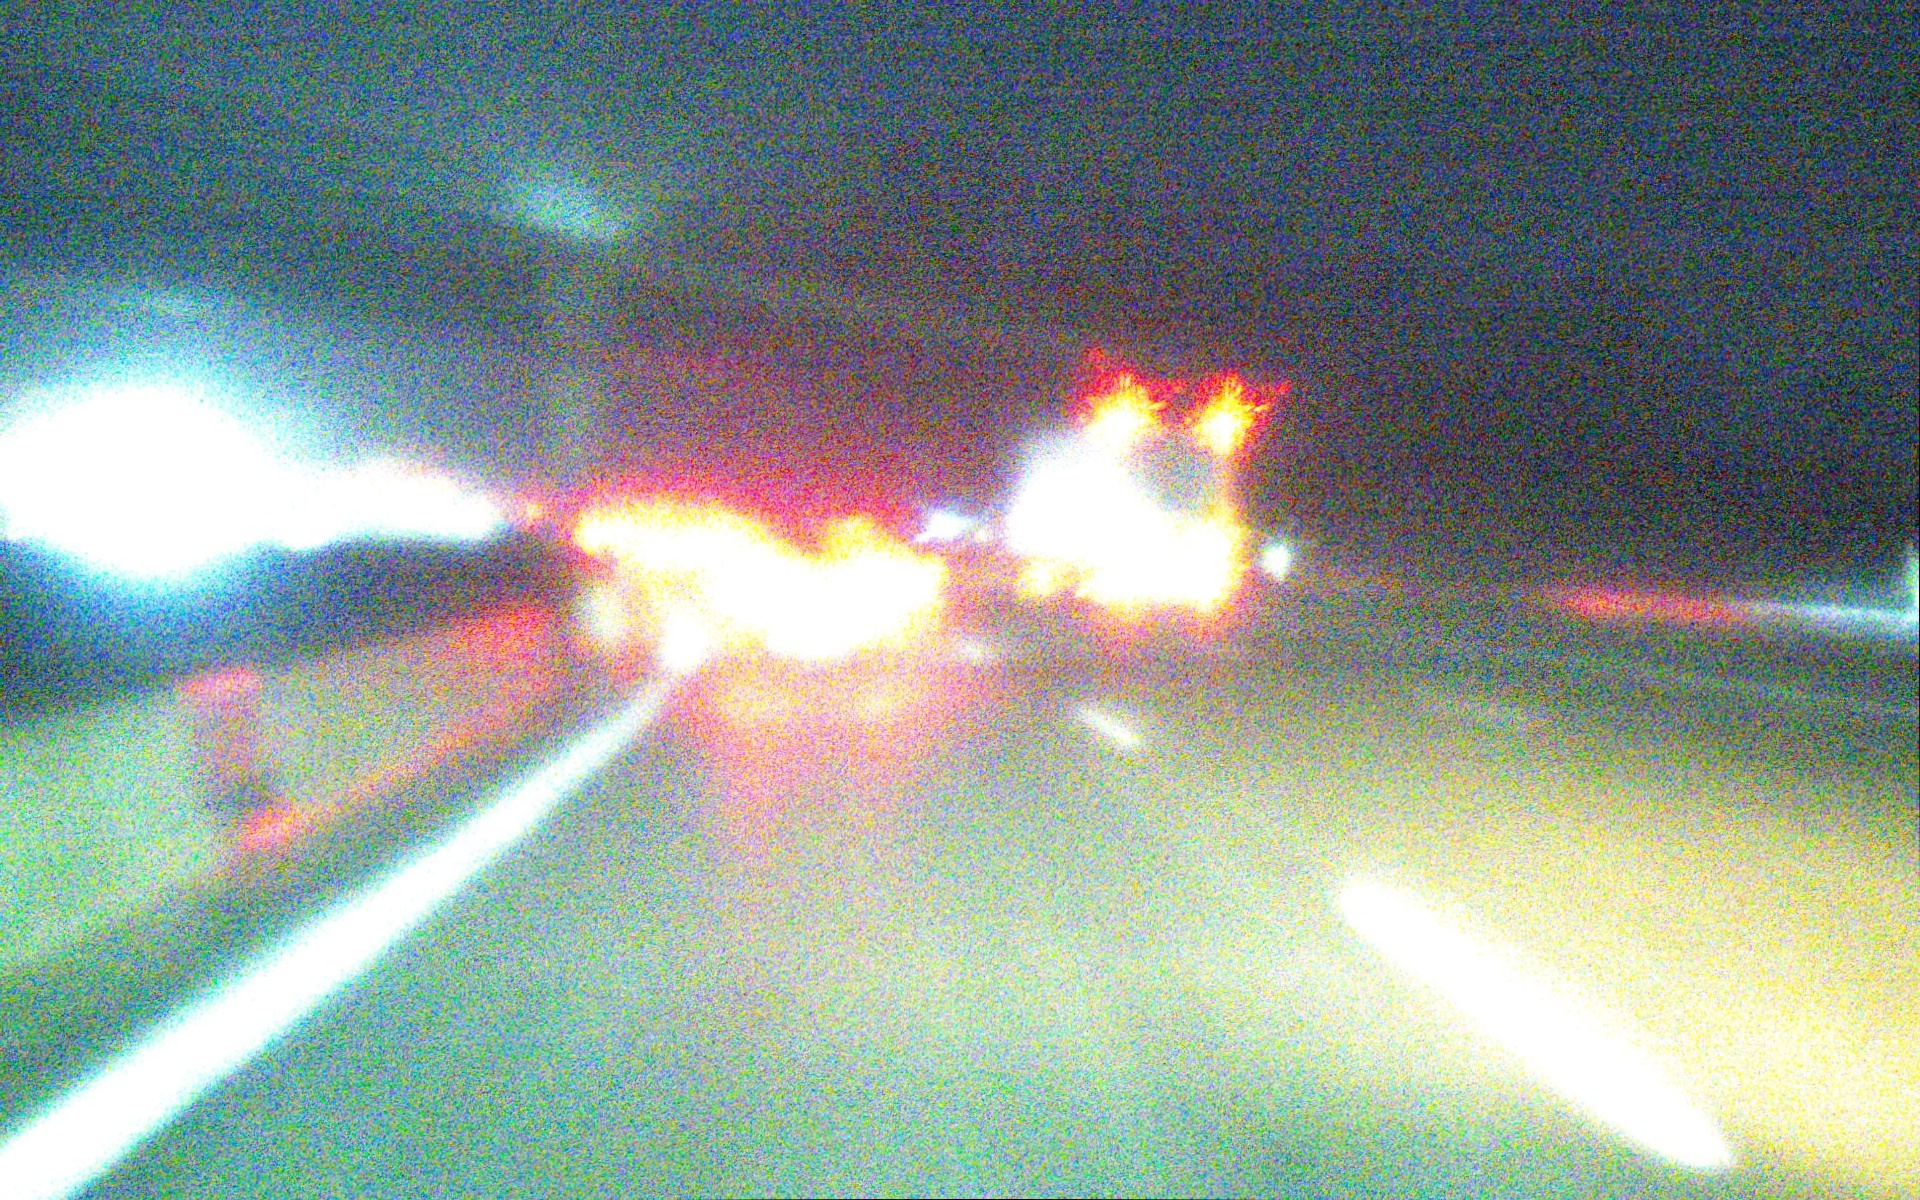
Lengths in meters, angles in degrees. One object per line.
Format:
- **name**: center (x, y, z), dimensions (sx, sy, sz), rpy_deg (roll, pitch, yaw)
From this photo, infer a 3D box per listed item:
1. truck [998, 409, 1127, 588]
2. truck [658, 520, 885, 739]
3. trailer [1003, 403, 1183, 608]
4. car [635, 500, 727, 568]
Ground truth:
- **truck**: center (2.493, -2.514, 85.217), dimensions (2.710, 4.226, 5.294), rpy_deg (1, 2, -3)
- **truck**: center (-2.085, 0.240, 39.991), dimensions (2.145, 2.070, 6.604), rpy_deg (5, 2, -1)
- **trailer**: center (2.864, -2.255, 78.599), dimensions (2.739, 4.233, 13.375), rpy_deg (-1, 2, -3)
- **car**: center (-8.401, -1.957, 103.165), dimensions (1.993, 2.007, 4.001), rpy_deg (0, 0, -16)
